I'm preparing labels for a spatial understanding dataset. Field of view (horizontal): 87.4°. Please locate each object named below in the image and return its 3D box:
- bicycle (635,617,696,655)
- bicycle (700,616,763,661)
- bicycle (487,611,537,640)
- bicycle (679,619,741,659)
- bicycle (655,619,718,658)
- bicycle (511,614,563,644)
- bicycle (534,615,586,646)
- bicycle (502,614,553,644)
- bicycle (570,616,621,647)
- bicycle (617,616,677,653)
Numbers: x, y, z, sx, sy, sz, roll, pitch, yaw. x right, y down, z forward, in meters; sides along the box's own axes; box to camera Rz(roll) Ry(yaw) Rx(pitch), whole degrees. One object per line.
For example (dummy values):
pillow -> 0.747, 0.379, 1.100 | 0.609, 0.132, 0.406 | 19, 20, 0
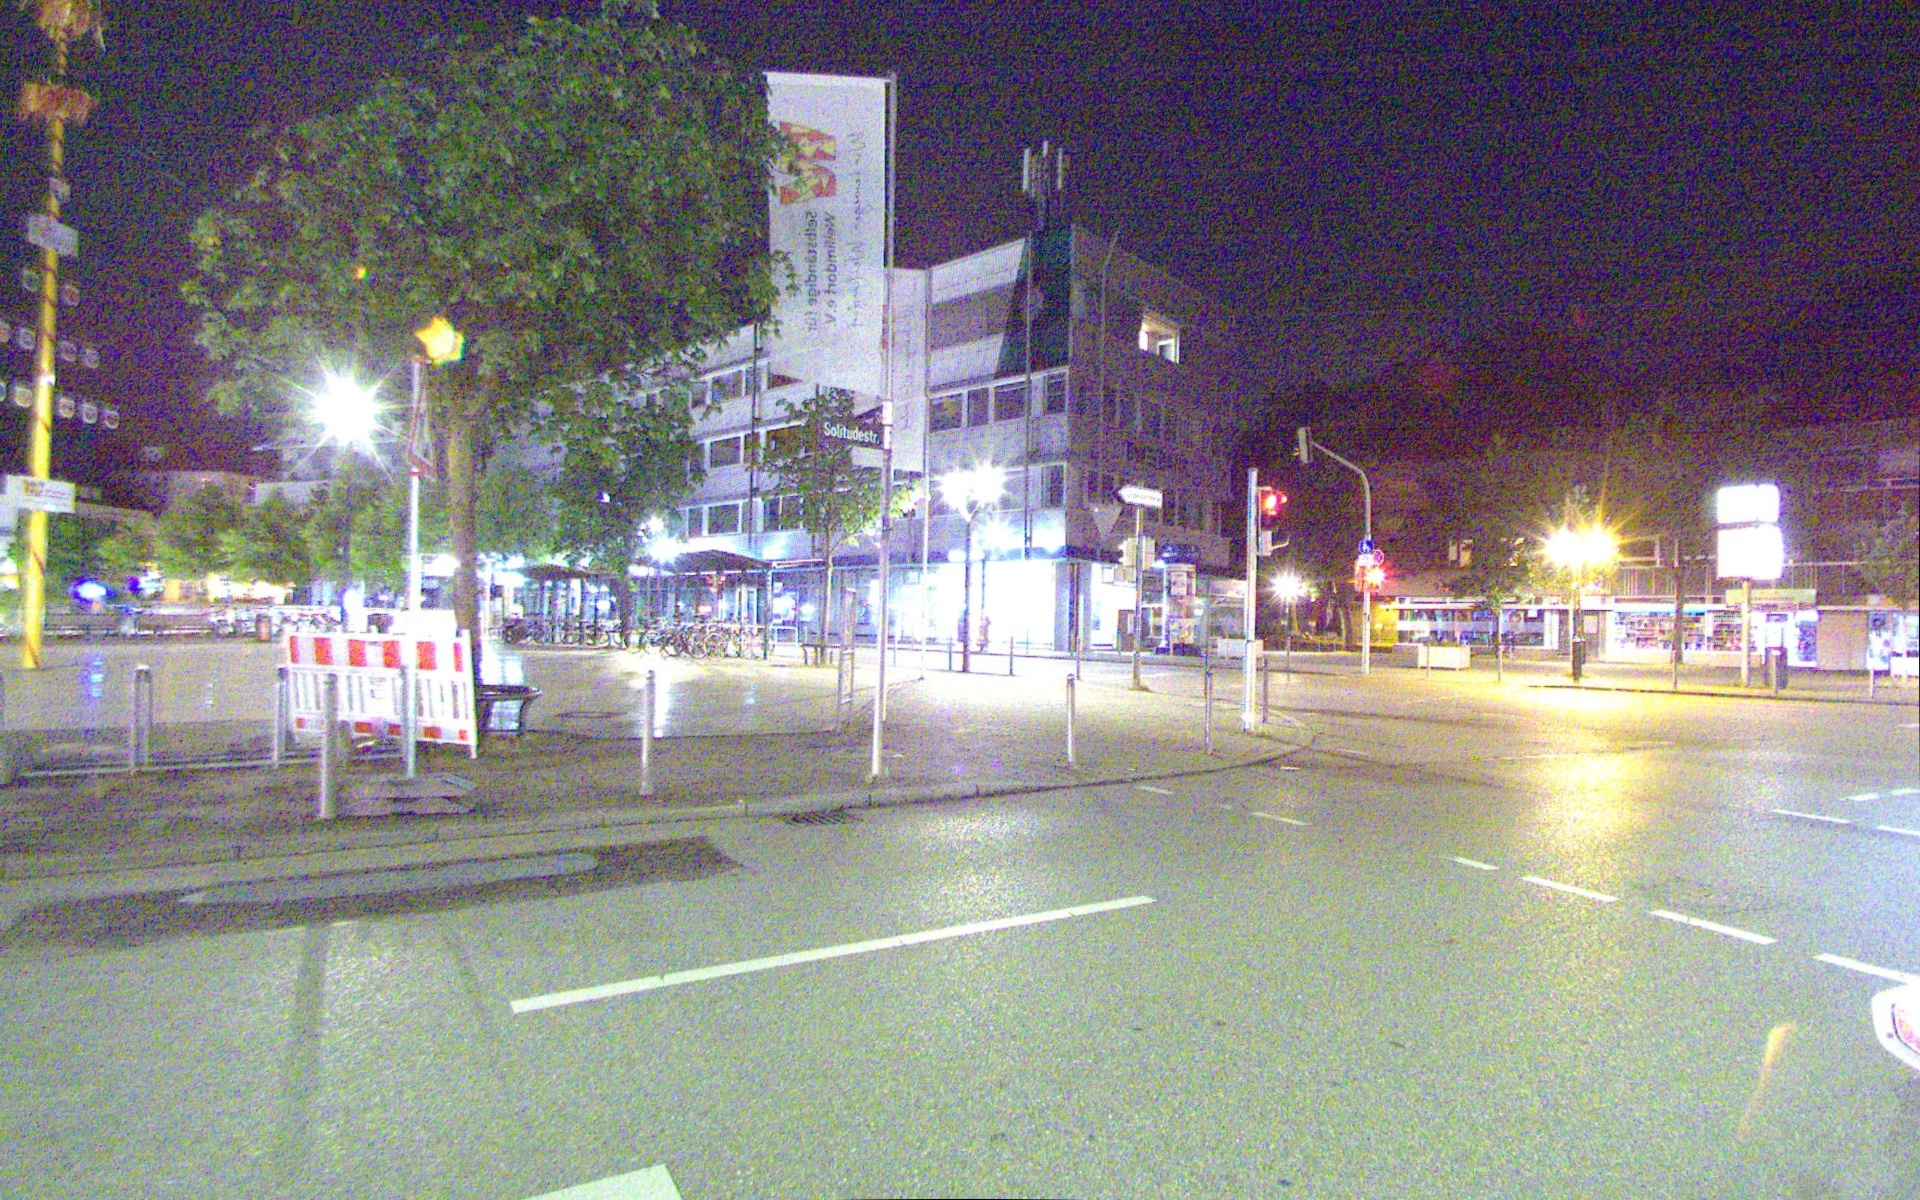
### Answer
bicycle -> -7.855, 0.958, 26.822 | 0.473, 0.970, 1.525 | 2, 0, 44
bicycle -> -5.655, 0.947, 24.924 | 0.440, 1.068, 1.525 | 2, 0, 43
bicycle -> -15.555, 0.873, 34.882 | 0.473, 0.970, 1.525 | 2, 0, 44
bicycle -> -6.354, 0.988, 25.598 | 0.440, 0.970, 1.525 | 2, 0, 43
bicycle -> -7.108, 1.000, 26.137 | 0.473, 0.970, 1.525 | 2, 0, 44
bicycle -> -14.188, 0.987, 33.737 | 0.473, 0.970, 1.525 | 2, 0, 44
bicycle -> -13.165, 1.000, 33.093 | 0.473, 0.970, 1.525 | 2, 0, 44
bicycle -> -14.781, 0.997, 34.349 | 0.473, 0.970, 1.525 | 2, 0, 44
bicycle -> -12.005, 1.035, 33.132 | 0.473, 0.970, 1.525 | 2, 0, 44
bicycle -> -8.535, 0.941, 27.422 | 0.473, 0.970, 1.525 | 2, 0, 44
